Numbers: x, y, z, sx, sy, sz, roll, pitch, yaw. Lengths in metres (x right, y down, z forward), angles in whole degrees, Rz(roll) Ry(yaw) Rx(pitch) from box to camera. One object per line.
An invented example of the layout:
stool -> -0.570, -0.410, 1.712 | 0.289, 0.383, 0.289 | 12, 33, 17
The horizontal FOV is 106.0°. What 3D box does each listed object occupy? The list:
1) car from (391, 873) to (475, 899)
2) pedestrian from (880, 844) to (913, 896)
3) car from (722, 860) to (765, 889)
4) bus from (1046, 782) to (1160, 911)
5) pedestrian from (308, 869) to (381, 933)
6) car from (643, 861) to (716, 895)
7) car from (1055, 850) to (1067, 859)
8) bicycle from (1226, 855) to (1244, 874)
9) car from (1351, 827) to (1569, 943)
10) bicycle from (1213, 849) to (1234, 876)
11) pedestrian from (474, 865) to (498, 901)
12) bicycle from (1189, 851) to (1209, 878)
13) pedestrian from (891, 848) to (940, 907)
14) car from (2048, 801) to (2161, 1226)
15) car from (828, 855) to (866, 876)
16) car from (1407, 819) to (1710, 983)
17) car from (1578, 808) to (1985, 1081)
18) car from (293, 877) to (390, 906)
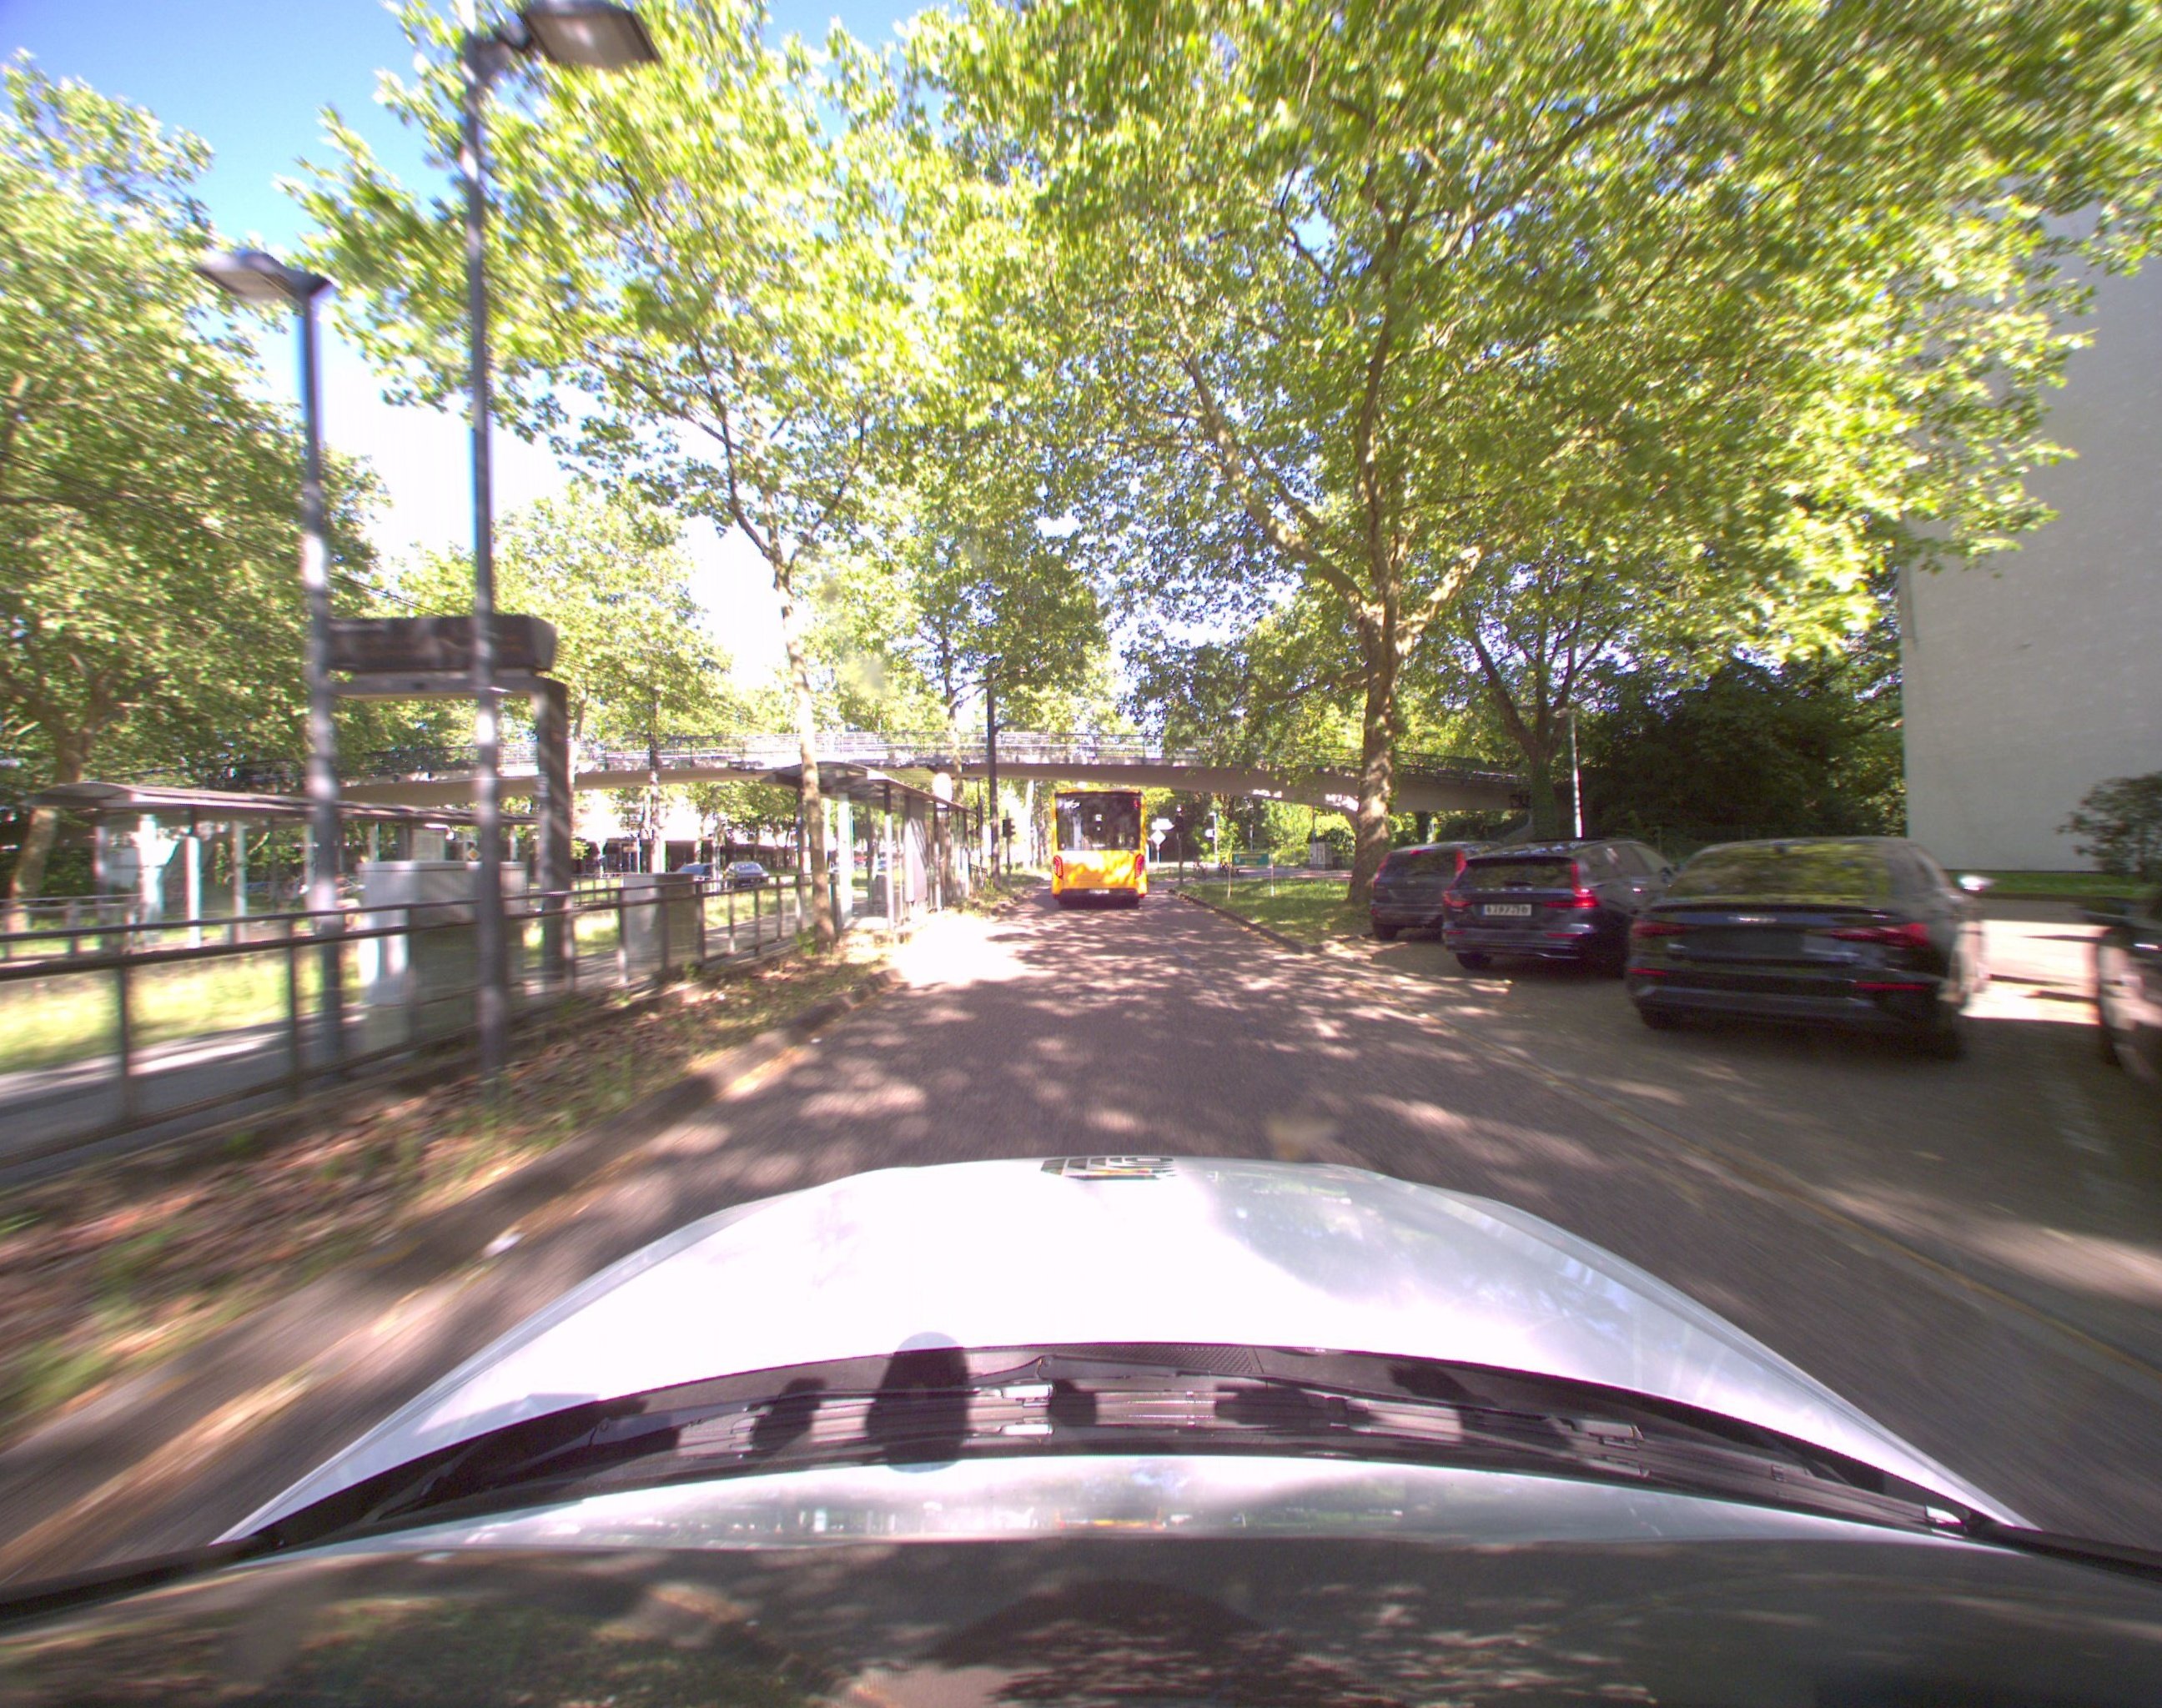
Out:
car -> -43.152, 2.139, 54.272 | 3.981, 1.510, 1.797 | -2, 0, -6
pedestrian -> -5.127, 0.433, 22.651 | 0.722, 1.417, 0.682 | -1, 0, 0
car -> -19.688, 1.148, 47.404 | 1.805, 1.566, 4.248 | -2, 0, -29
bus -> 0.560, -0.228, 27.259 | 2.891, 3.266, 12.215 | -2, 0, 0
pedestrian -> -14.891, 0.936, 16.489 | 0.775, 1.237, 0.722 | -2, 0, -1
car -> -20.630, 1.203, 42.076 | 1.790, 1.566, 4.283 | -2, 0, -3
car -> -3.821, 0.157, 157.769 | 1.979, 1.643, 4.136 | 1, 1, 2
bicycle -> 7.350, 0.485, 38.806 | 0.503, 0.852, 1.473 | -5, 1, 0
car -> 6.206, 0.417, 13.111 | 4.024, 1.461, 1.778 | -4, 0, -44
bicycle -> 6.751, 0.372, 38.632 | 0.588, 1.182, 1.800 | -5, 1, 0
pedestrian -> -28.692, 1.409, 39.263 | 0.642, 1.705, 0.653 | -2, 0, 21
bicycle -> 5.588, 0.477, 38.683 | 0.588, 1.182, 1.800 | -5, 1, 0
pedestrian -> -3.558, 0.495, 17.550 | 0.851, 1.243, 0.851 | -1, 0, 2
car -> 5.942, 0.478, 3.697 | 4.023, 1.468, 1.761 | -4, 0, -42
car -> -19.285, 0.946, 67.209 | 1.788, 1.580, 4.289 | -2, 0, 1
car -> 5.953, 0.432, 9.931 | 4.279, 1.461, 1.779 | -4, 0, -40
car -> 5.911, 0.472, 6.675 | 4.279, 1.461, 1.779 | -4, 0, -40
car -> -45.421, 2.298, 50.069 | 4.069, 1.510, 1.796 | -2, 0, -7
